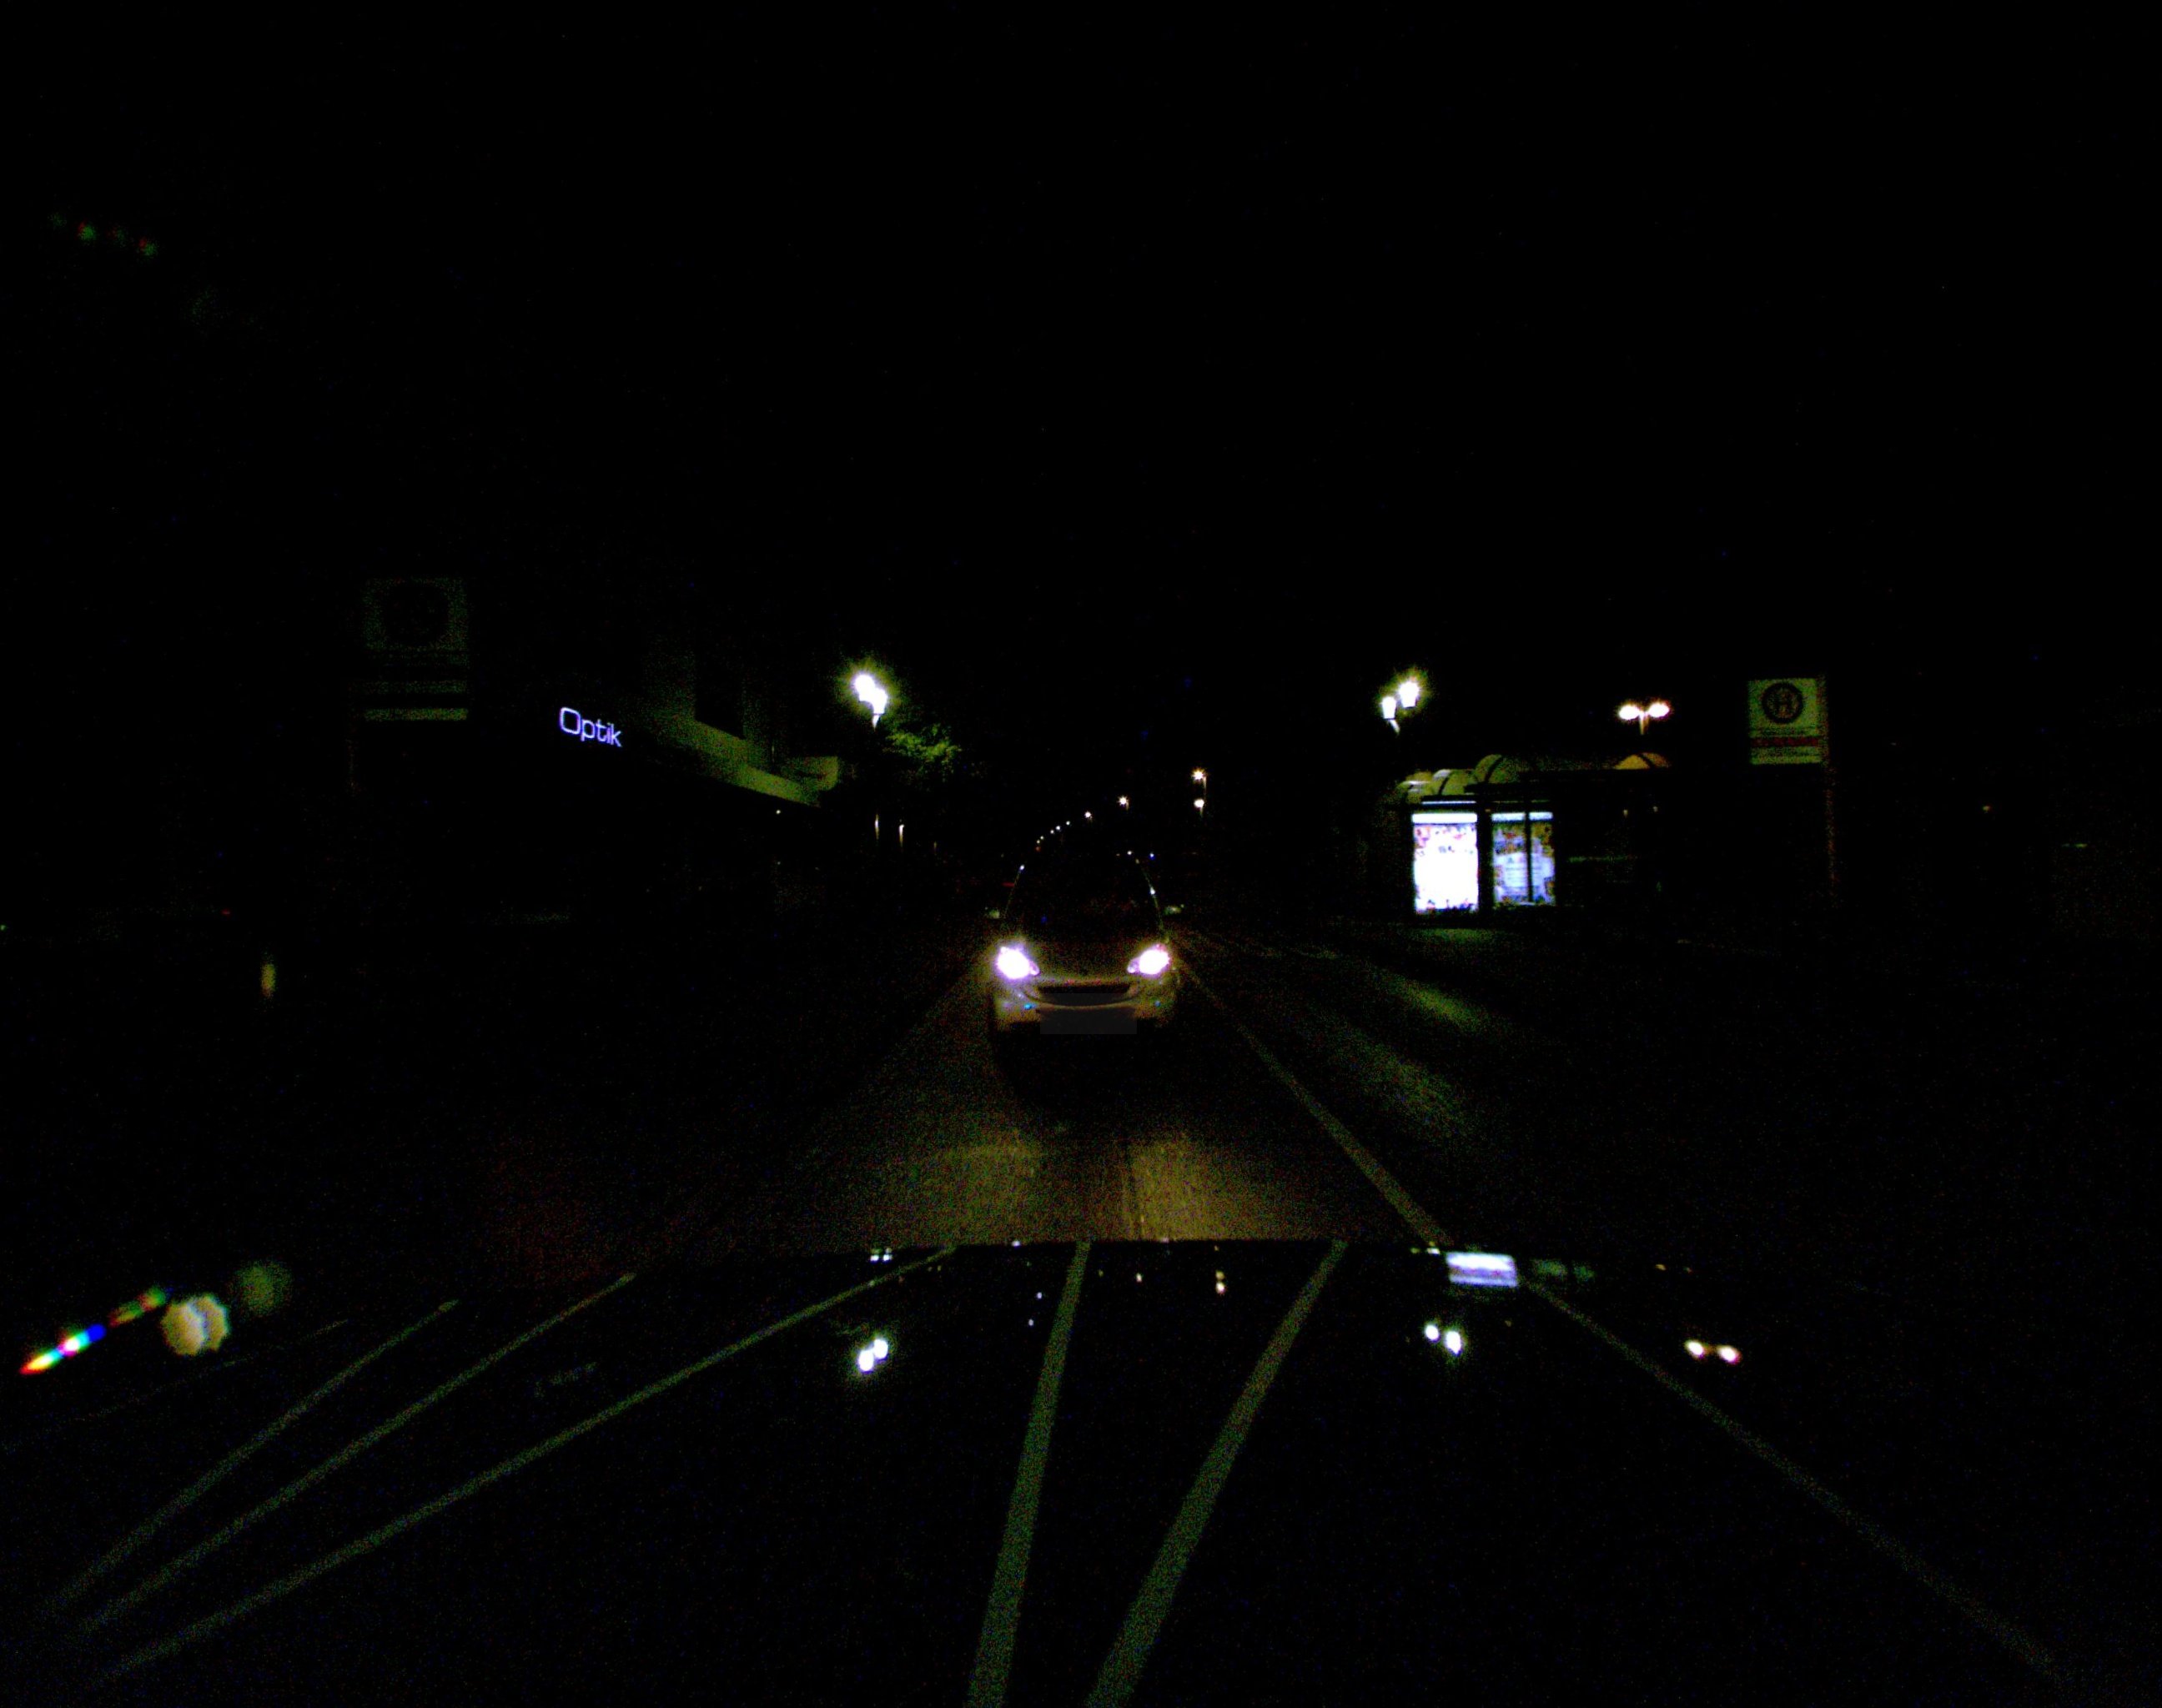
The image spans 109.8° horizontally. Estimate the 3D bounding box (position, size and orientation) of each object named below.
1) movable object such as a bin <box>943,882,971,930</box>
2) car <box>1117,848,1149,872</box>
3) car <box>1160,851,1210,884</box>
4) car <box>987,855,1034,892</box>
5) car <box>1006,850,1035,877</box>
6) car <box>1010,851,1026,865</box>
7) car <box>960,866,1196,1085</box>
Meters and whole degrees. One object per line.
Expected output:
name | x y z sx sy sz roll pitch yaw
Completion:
movable object such as a bin | -2.602 1.074 15.890 0.525 0.932 0.628 -2 2 -11
car | 3.708 0.417 54.860 1.697 1.515 3.688 -2 2 -6
car | 5.085 0.639 37.576 1.696 1.428 4.126 -3 1 -2
car | -2.997 0.799 33.206 1.863 1.434 4.592 0 1 -3
car | -3.896 0.582 49.662 1.792 1.632 4.377 0 1 -4
car | -7.159 0.422 86.034 1.643 1.458 3.774 -3 1 -5
car | 0.046 0.896 7.189 1.627 1.495 3.551 -2 -1 2
